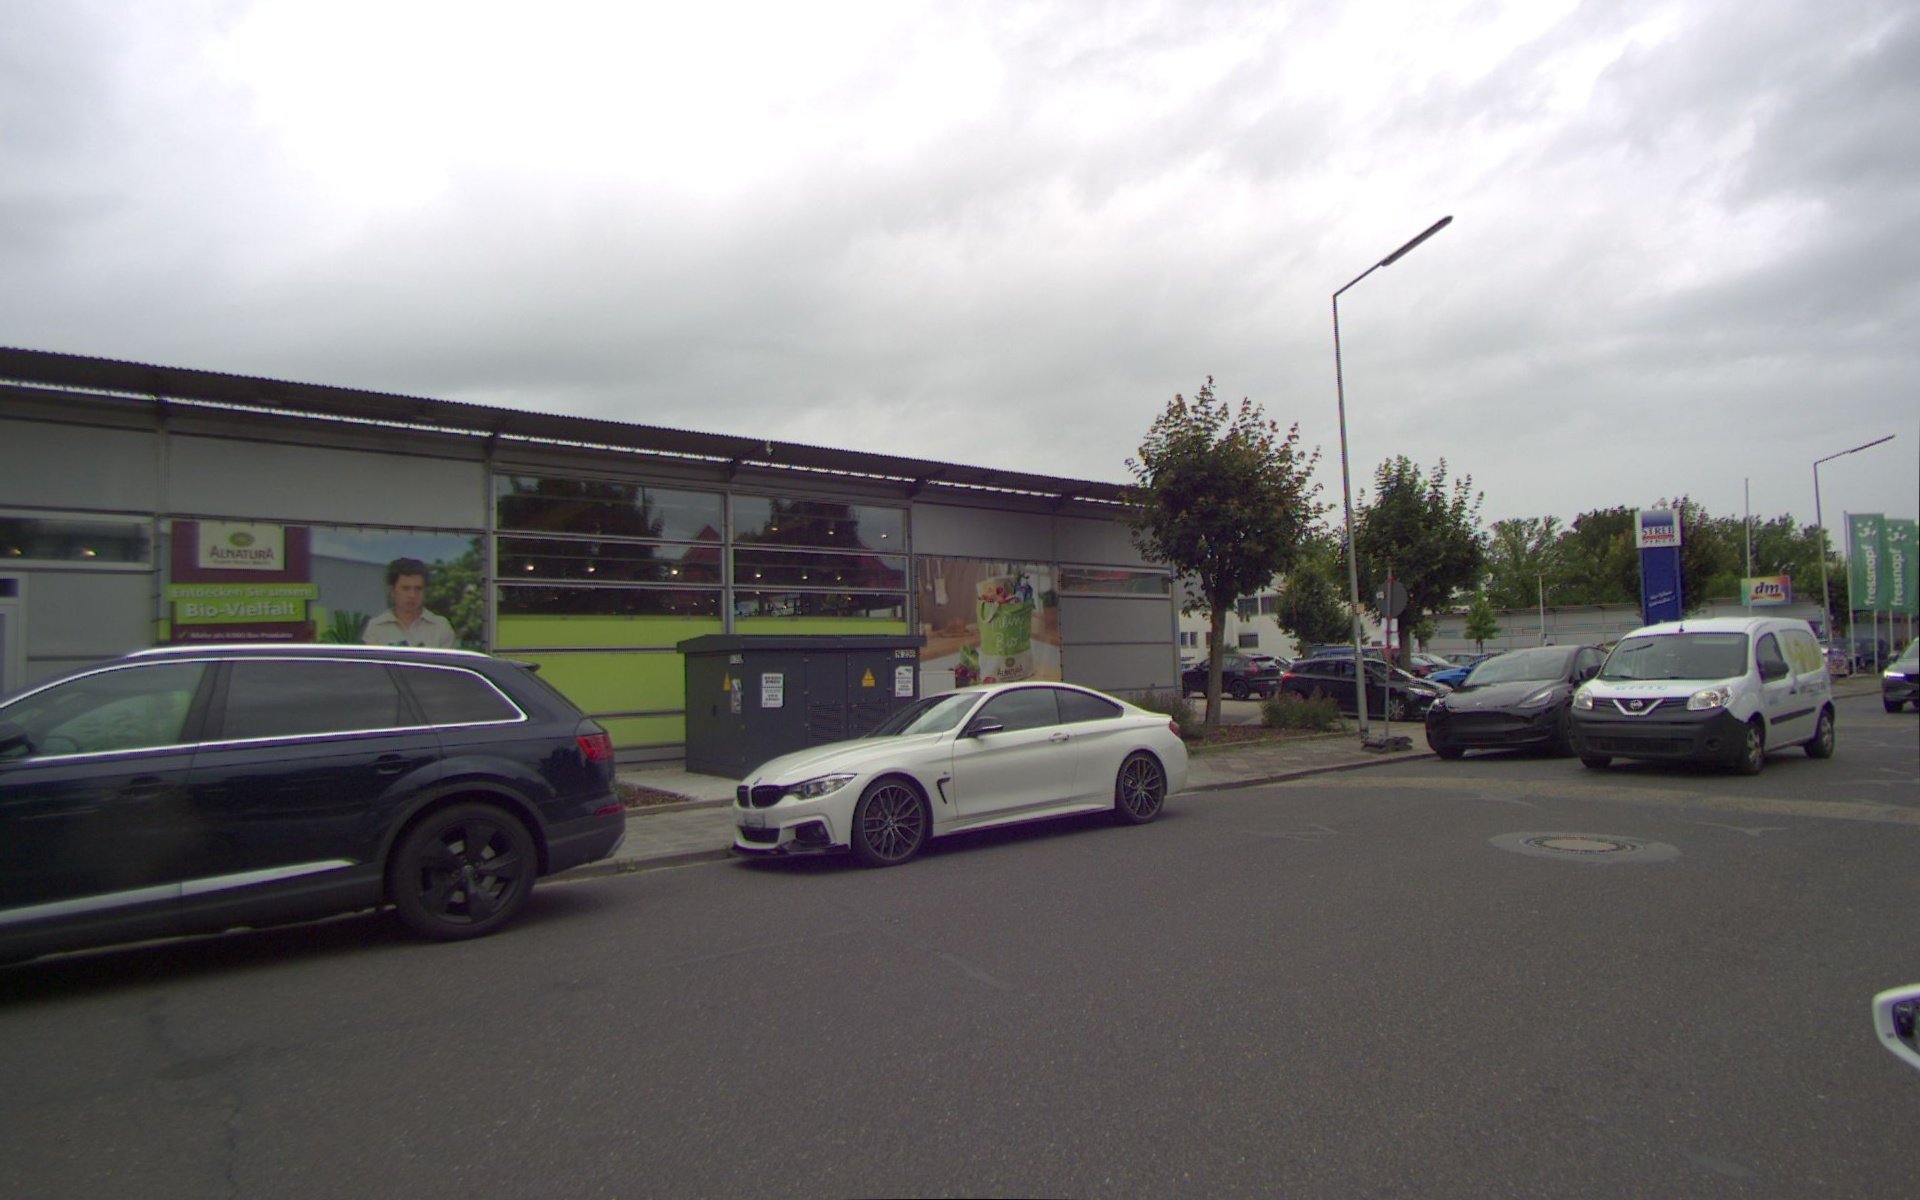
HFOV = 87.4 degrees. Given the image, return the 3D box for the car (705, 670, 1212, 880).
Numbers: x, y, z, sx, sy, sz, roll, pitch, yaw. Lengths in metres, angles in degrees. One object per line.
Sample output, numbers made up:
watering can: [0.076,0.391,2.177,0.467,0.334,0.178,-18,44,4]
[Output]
car: [0.139,1.449,9.171,4.477,1.384,1.688,2,-9,-38]

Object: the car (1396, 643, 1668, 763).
car: [8.768,1.531,15.281,4.363,1.545,1.934,2,-8,-38]

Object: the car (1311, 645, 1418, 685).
car: [17.840,2.881,44.435,1.858,1.690,3.961,1,-4,-36]

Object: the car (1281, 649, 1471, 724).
car: [10.044,2.028,24.487,1.909,1.641,3.848,1,-3,-36]

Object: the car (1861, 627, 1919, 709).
car: [21.855,1.457,22.149,4.450,1.705,1.922,1,-5,-35]

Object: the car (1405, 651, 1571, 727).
car: [15.405,2.573,29.426,1.749,2.039,3.894,2,-5,-43]

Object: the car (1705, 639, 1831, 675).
car: [36.034,2.556,44.890,1.884,1.482,4.100,2,-5,-41]

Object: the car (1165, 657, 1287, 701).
car: [9.848,2.932,37.358,3.943,1.504,1.867,-4,-5,42]

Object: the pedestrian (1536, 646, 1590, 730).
pedestrian: [12.925,1.870,21.522,0.691,1.737,0.768,2,-3,-41]

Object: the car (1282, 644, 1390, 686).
car: [16.001,2.797,42.899,1.858,1.690,3.961,1,-4,-36]

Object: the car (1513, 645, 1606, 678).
car: [33.041,3.418,55.456,1.858,1.690,3.961,1,-4,-36]

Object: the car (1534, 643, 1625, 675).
car: [34.928,3.336,56.724,1.858,1.690,3.961,1,-4,-36]

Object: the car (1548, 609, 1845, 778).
car: [9.225,1.096,12.492,4.094,1.783,1.679,1,-6,-36]

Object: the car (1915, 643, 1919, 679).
car: [39.298,2.354,39.487,3.963,1.385,1.885,1,-4,-37]

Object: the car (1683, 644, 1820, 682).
car: [32.621,2.604,41.469,1.940,1.482,4.164,3,-5,-44]

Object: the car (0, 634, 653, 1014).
car: [-4.390,1.144,5.752,4.683,1.712,1.854,1,-8,-36]
